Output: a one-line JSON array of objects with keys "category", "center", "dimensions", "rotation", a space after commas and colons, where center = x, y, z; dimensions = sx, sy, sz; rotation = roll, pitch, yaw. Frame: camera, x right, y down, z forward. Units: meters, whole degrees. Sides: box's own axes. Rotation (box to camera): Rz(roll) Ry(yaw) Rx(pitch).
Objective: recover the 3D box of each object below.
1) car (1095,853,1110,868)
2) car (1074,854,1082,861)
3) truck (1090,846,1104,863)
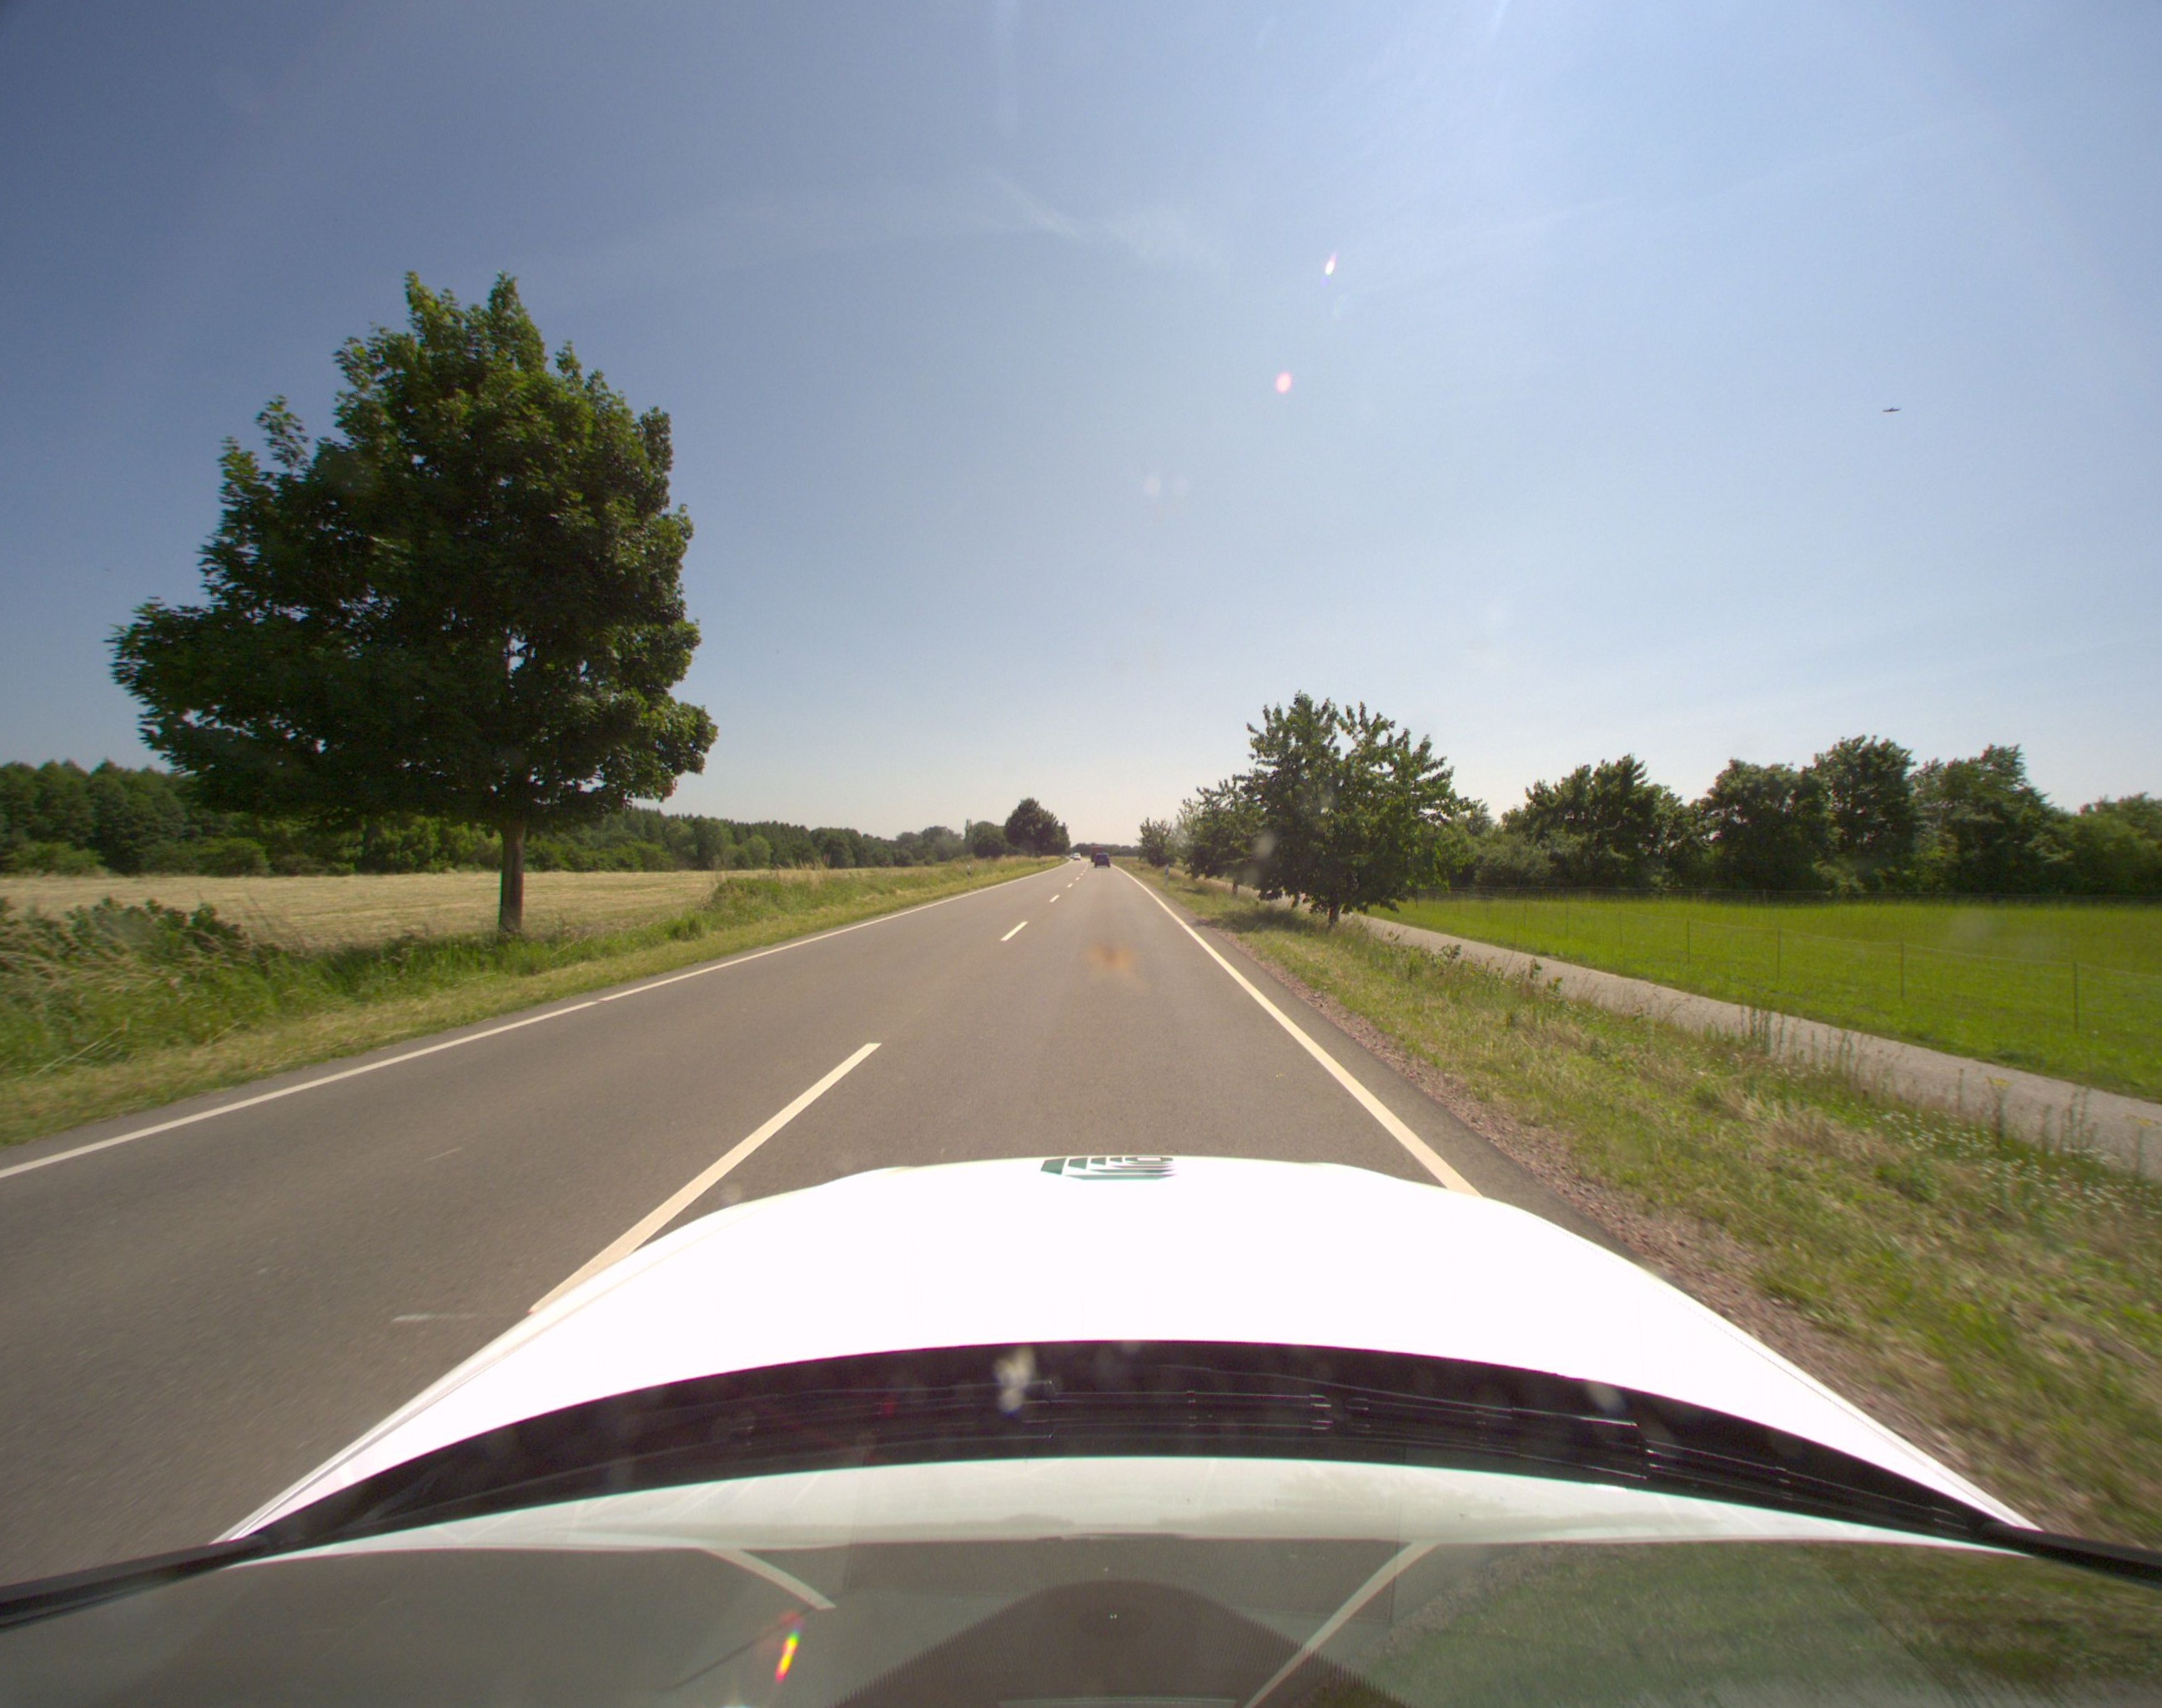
[{"category": "car", "center": [2.560, 0.761, 97.182], "dimensions": [1.708, 1.694, 3.991], "rotation": [0, 0, 2]}, {"category": "car", "center": [-0.788, 0.804, 207.741], "dimensions": [1.780, 1.728, 4.305], "rotation": [0, 0, 1]}, {"category": "truck", "center": [3.141, 0.091, 160.428], "dimensions": [2.363, 3.140, 8.744], "rotation": [0, 0, -1]}]
